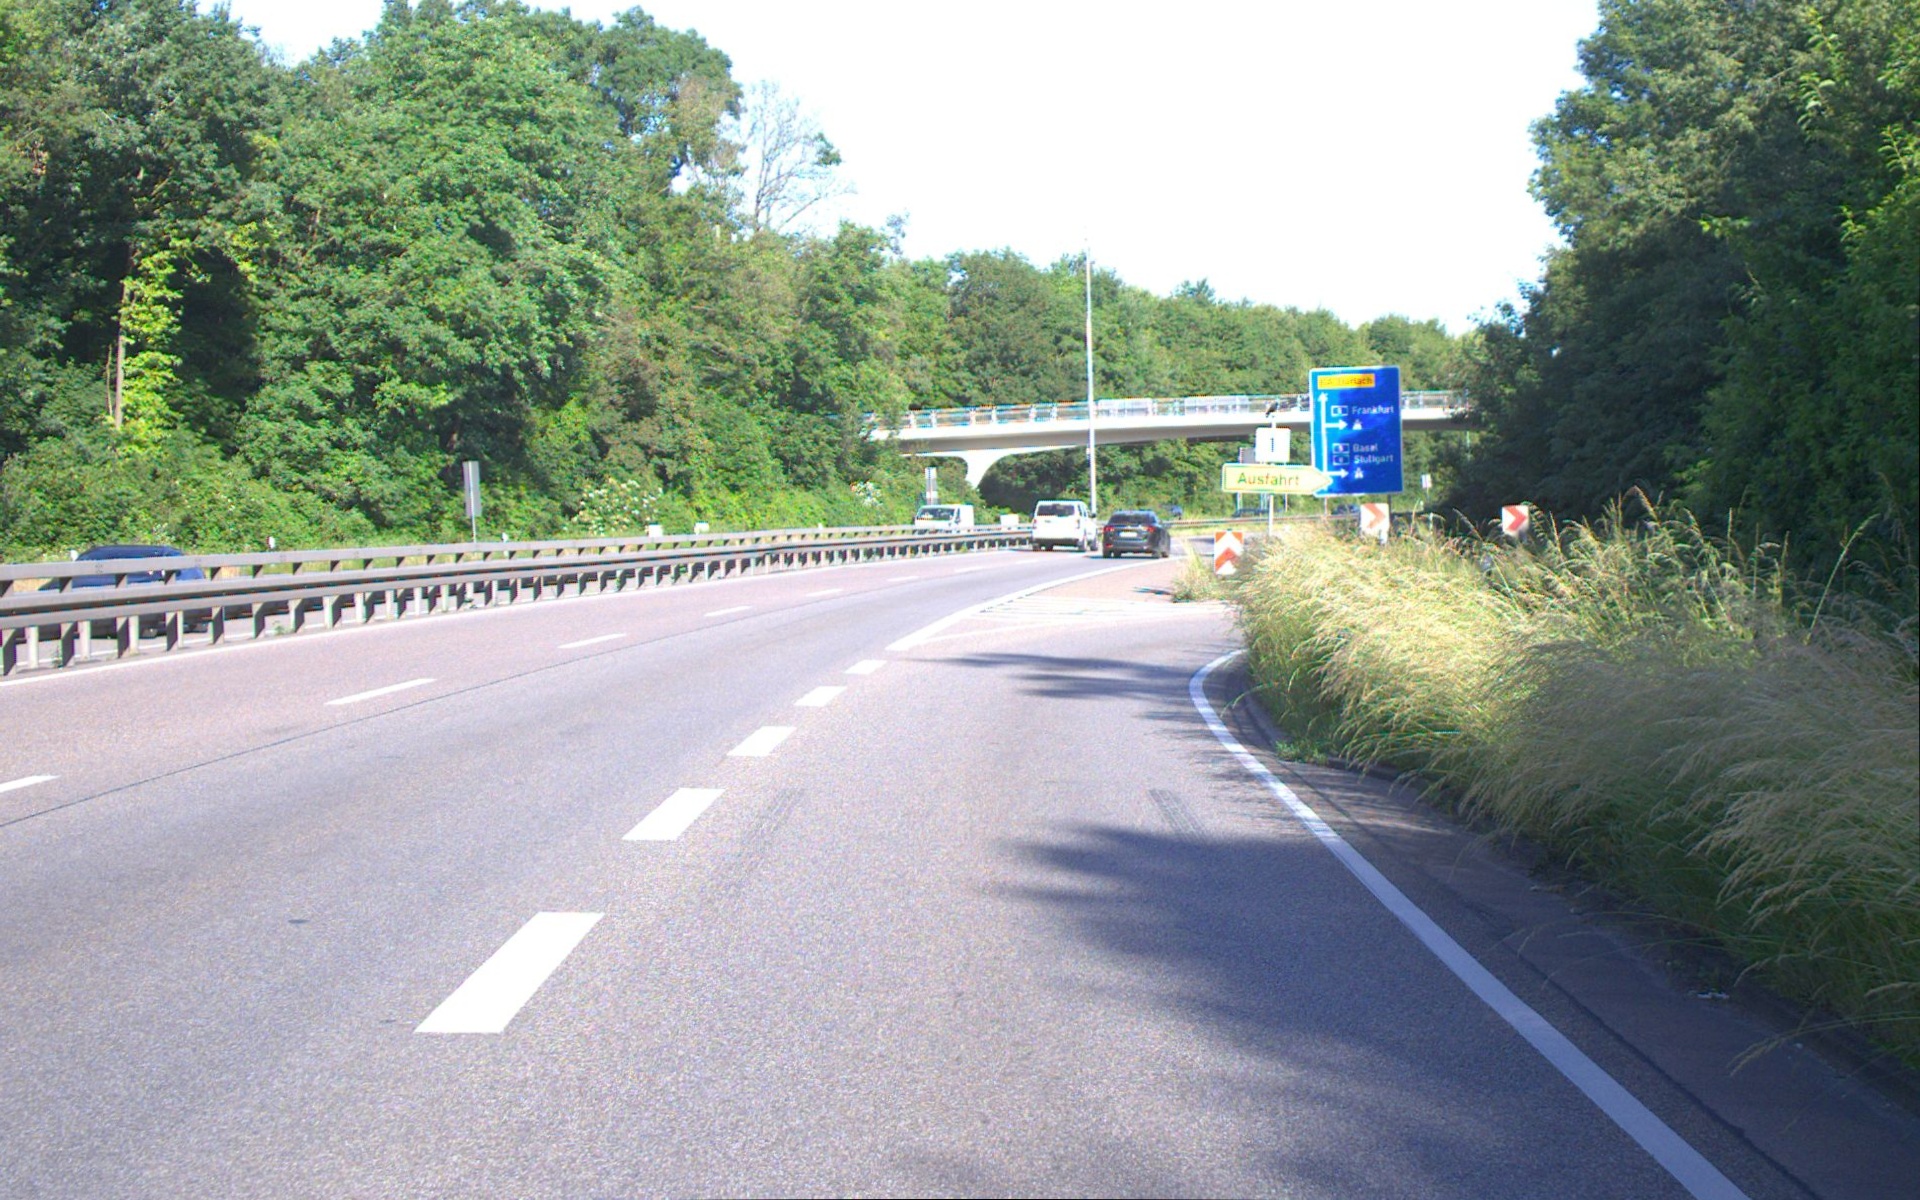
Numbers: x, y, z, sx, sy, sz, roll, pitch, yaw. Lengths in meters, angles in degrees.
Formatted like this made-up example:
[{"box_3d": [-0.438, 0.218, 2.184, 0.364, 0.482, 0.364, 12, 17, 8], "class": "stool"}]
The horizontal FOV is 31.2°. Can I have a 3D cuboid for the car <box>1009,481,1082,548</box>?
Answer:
[{"box_3d": [2.995, -2.969, 119.704, 1.994, 2.269, 3.999, -1, 1, 9], "class": "car"}]

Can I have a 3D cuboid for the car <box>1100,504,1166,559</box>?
[{"box_3d": [5.429, -2.158, 107.508, 1.740, 1.656, 3.944, -1, 1, 8], "class": "car"}]
